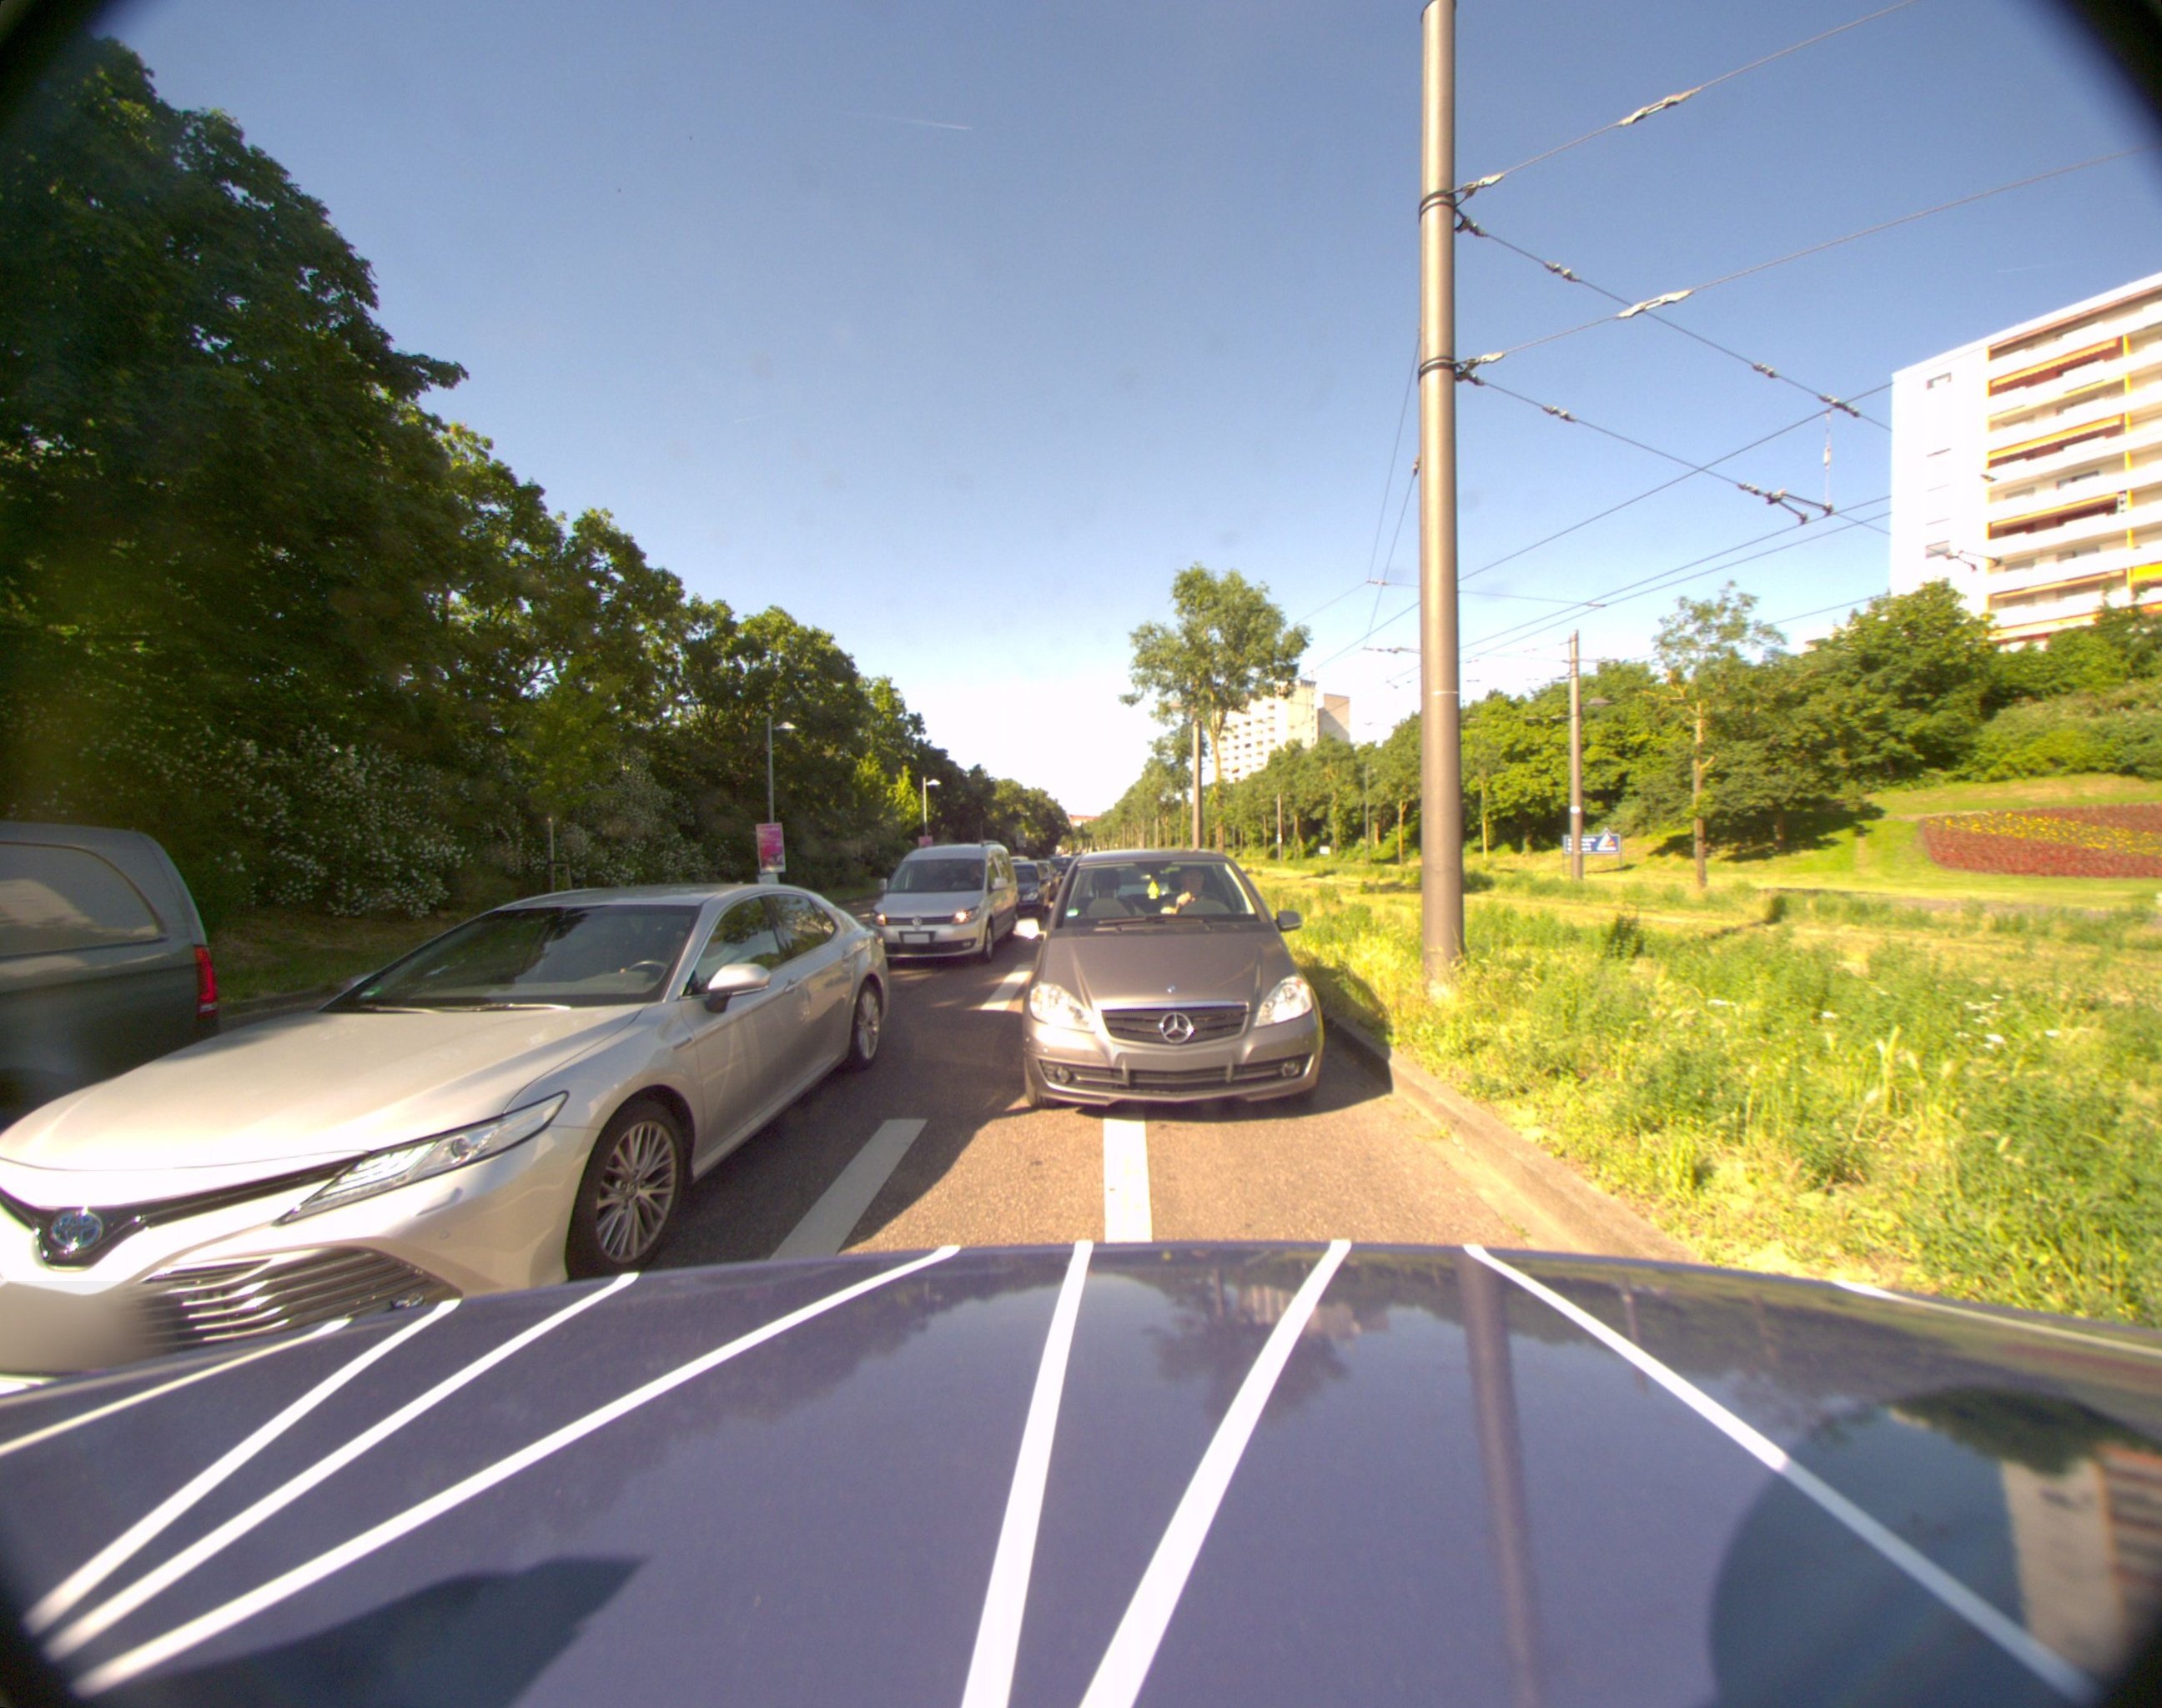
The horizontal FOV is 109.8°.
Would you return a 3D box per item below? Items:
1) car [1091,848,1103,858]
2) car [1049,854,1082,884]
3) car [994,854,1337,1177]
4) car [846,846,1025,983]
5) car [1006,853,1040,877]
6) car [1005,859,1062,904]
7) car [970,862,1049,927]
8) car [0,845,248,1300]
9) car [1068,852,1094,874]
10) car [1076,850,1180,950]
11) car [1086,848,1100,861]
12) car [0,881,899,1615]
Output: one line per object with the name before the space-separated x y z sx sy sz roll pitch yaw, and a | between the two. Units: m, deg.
car | 2.501 -0.128 115.711 1.685 1.437 3.727 -2 1 2
car | -0.795 0.775 40.864 1.621 1.485 3.452 -2 1 0
car | 0.474 0.858 6.013 1.749 1.630 4.000 -2 0 1
car | -2.155 0.805 12.623 1.808 1.811 4.587 -2 1 3
car | -3.683 0.663 48.891 1.713 1.430 4.171 -2 0 1
car | -1.633 0.941 27.351 1.723 1.411 4.050 -1 0 1
car | -1.744 0.967 19.764 1.717 1.445 4.197 -1 0 -1
car | -5.359 0.897 1.426 1.808 1.841 5.103 0 0 3
car | 0.030 0.623 53.516 1.713 1.430 4.171 -2 0 1
car | 0.837 0.790 15.209 1.749 1.652 3.999 -2 1 1
car | 1.530 0.058 96.403 1.685 1.437 3.727 -2 1 2
car | -2.544 1.008 4.081 1.809 1.484 4.682 -2 0 2
